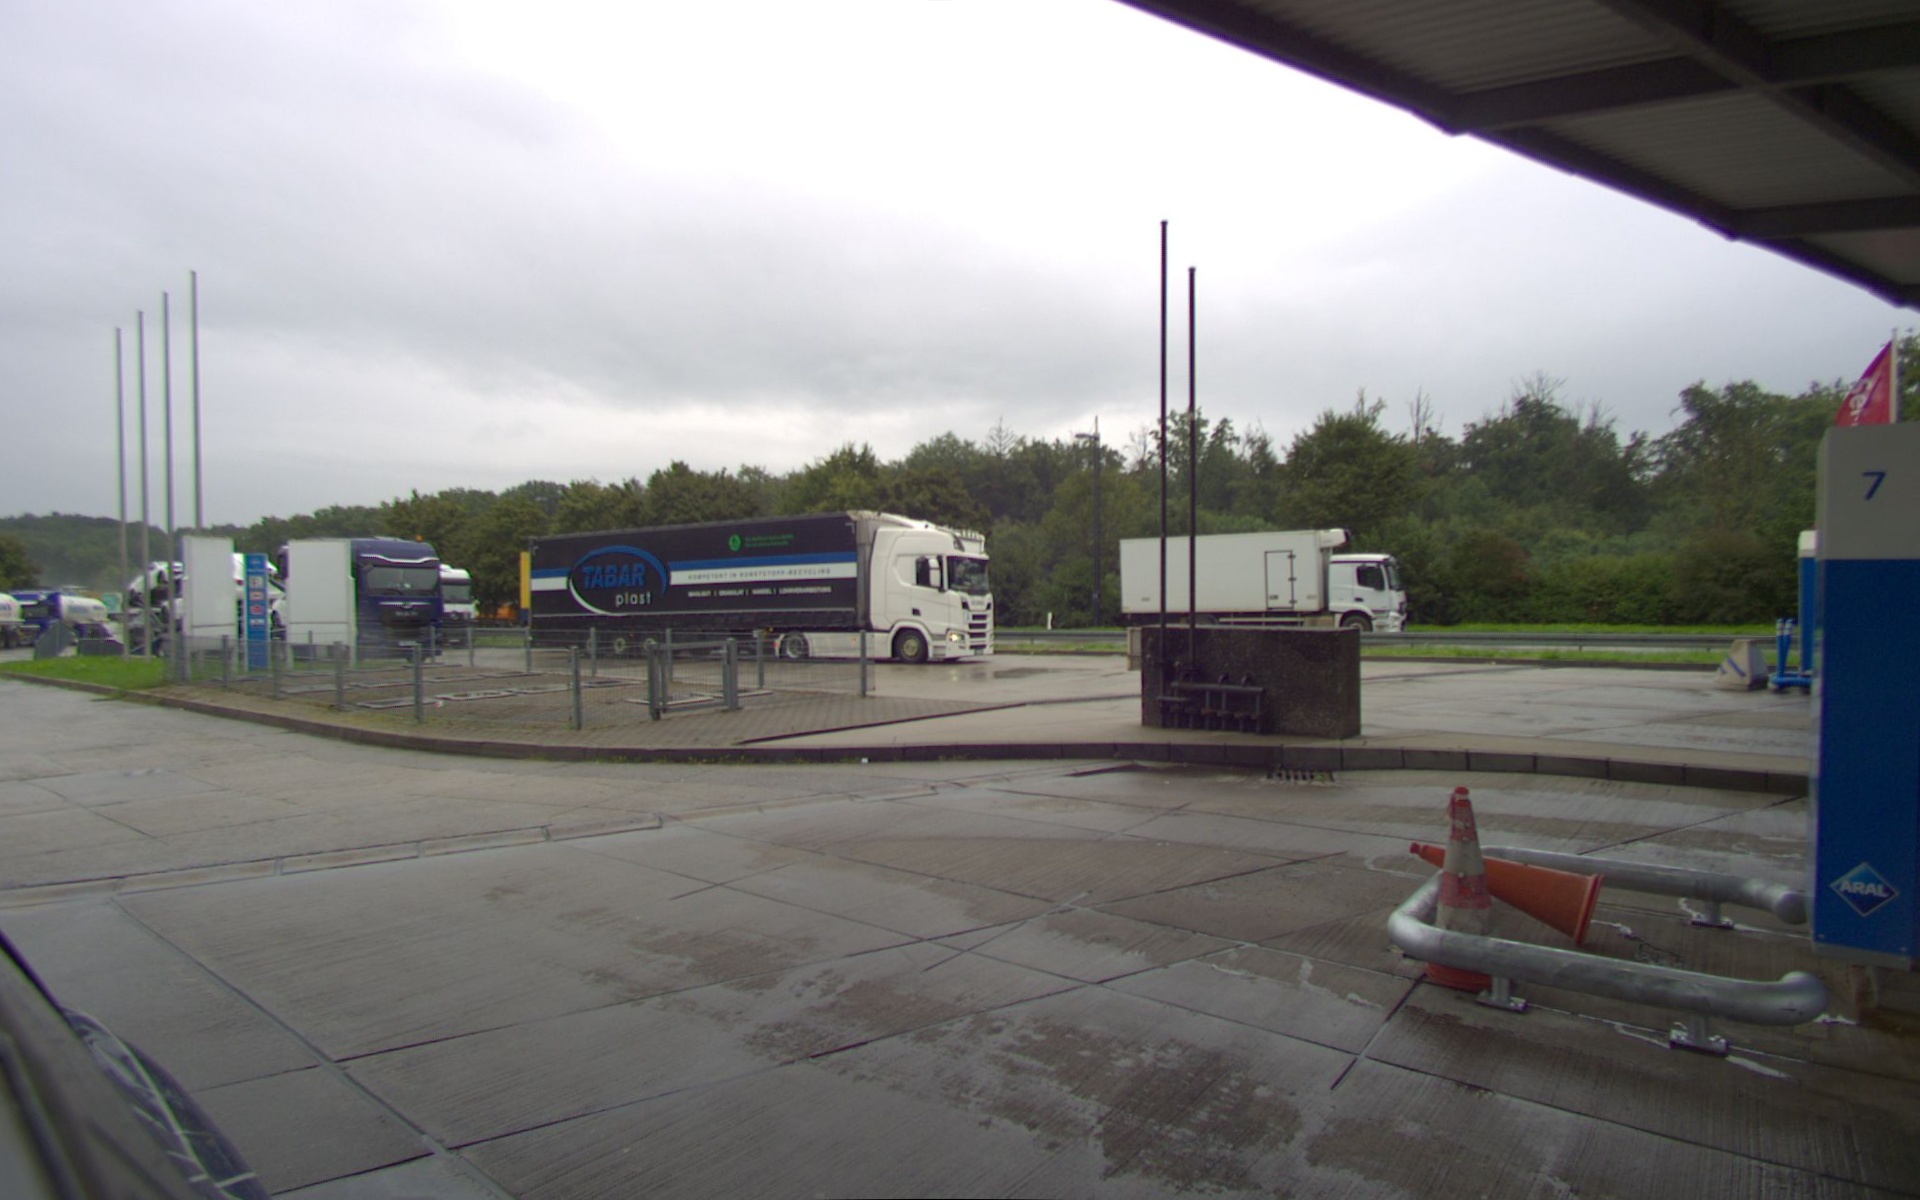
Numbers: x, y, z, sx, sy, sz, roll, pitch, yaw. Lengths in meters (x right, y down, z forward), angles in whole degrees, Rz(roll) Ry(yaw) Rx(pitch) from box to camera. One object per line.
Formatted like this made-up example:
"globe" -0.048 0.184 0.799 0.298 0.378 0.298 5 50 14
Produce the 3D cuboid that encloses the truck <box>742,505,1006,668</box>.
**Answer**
"truck" -2.387 -0.302 27.997 6.704 4.063 2.966 -1 0 25

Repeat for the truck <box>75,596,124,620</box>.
"truck" -138.706 1.307 163.073 11.949 3.591 3.213 -1 0 36

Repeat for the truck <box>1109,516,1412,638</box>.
"truck" 11.005 -0.727 37.744 10.433 4.063 2.961 -1 0 30

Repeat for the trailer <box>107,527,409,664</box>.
"trailer" -25.424 -0.053 35.935 16.563 4.063 2.957 -1 0 34

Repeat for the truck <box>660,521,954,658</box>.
"truck" -5.397 -0.265 33.965 10.608 4.063 2.743 -1 0 33

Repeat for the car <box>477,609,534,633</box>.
"car" -42.818 2.022 95.380 5.612 2.192 2.393 -1 -1 35

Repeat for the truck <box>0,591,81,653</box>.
"truck" -59.430 1.372 65.008 3.000 3.796 6.486 -1 0 -27

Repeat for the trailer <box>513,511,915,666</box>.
"trailer" -8.021 -0.230 31.273 13.749 4.063 2.961 -1 0 29

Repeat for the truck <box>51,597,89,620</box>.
"truck" -139.919 1.340 159.100 9.306 3.504 2.588 -1 0 36

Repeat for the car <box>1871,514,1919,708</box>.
"car" 14.865 0.118 12.388 5.272 2.482 2.298 -1 -2 37

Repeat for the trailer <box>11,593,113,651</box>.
"trailer" -62.275 1.436 70.495 2.854 3.666 10.605 -1 0 -28

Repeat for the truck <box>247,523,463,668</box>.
"truck" -19.000 -0.110 31.632 7.244 4.063 2.957 -1 0 34

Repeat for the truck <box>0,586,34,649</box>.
"truck" -55.564 1.019 55.029 3.196 3.591 12.013 -1 0 -19

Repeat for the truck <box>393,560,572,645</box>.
"truck" -24.786 0.146 52.285 10.433 4.063 2.961 -1 0 30

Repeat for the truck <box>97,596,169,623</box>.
"truck" -116.504 1.362 142.424 16.515 3.591 3.215 -1 0 34

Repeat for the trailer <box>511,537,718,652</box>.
"trailer" -13.553 -0.161 39.299 8.833 4.063 2.743 -1 0 33

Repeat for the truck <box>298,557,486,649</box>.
"truck" -27.308 0.180 48.457 10.433 4.063 2.961 -1 0 30
